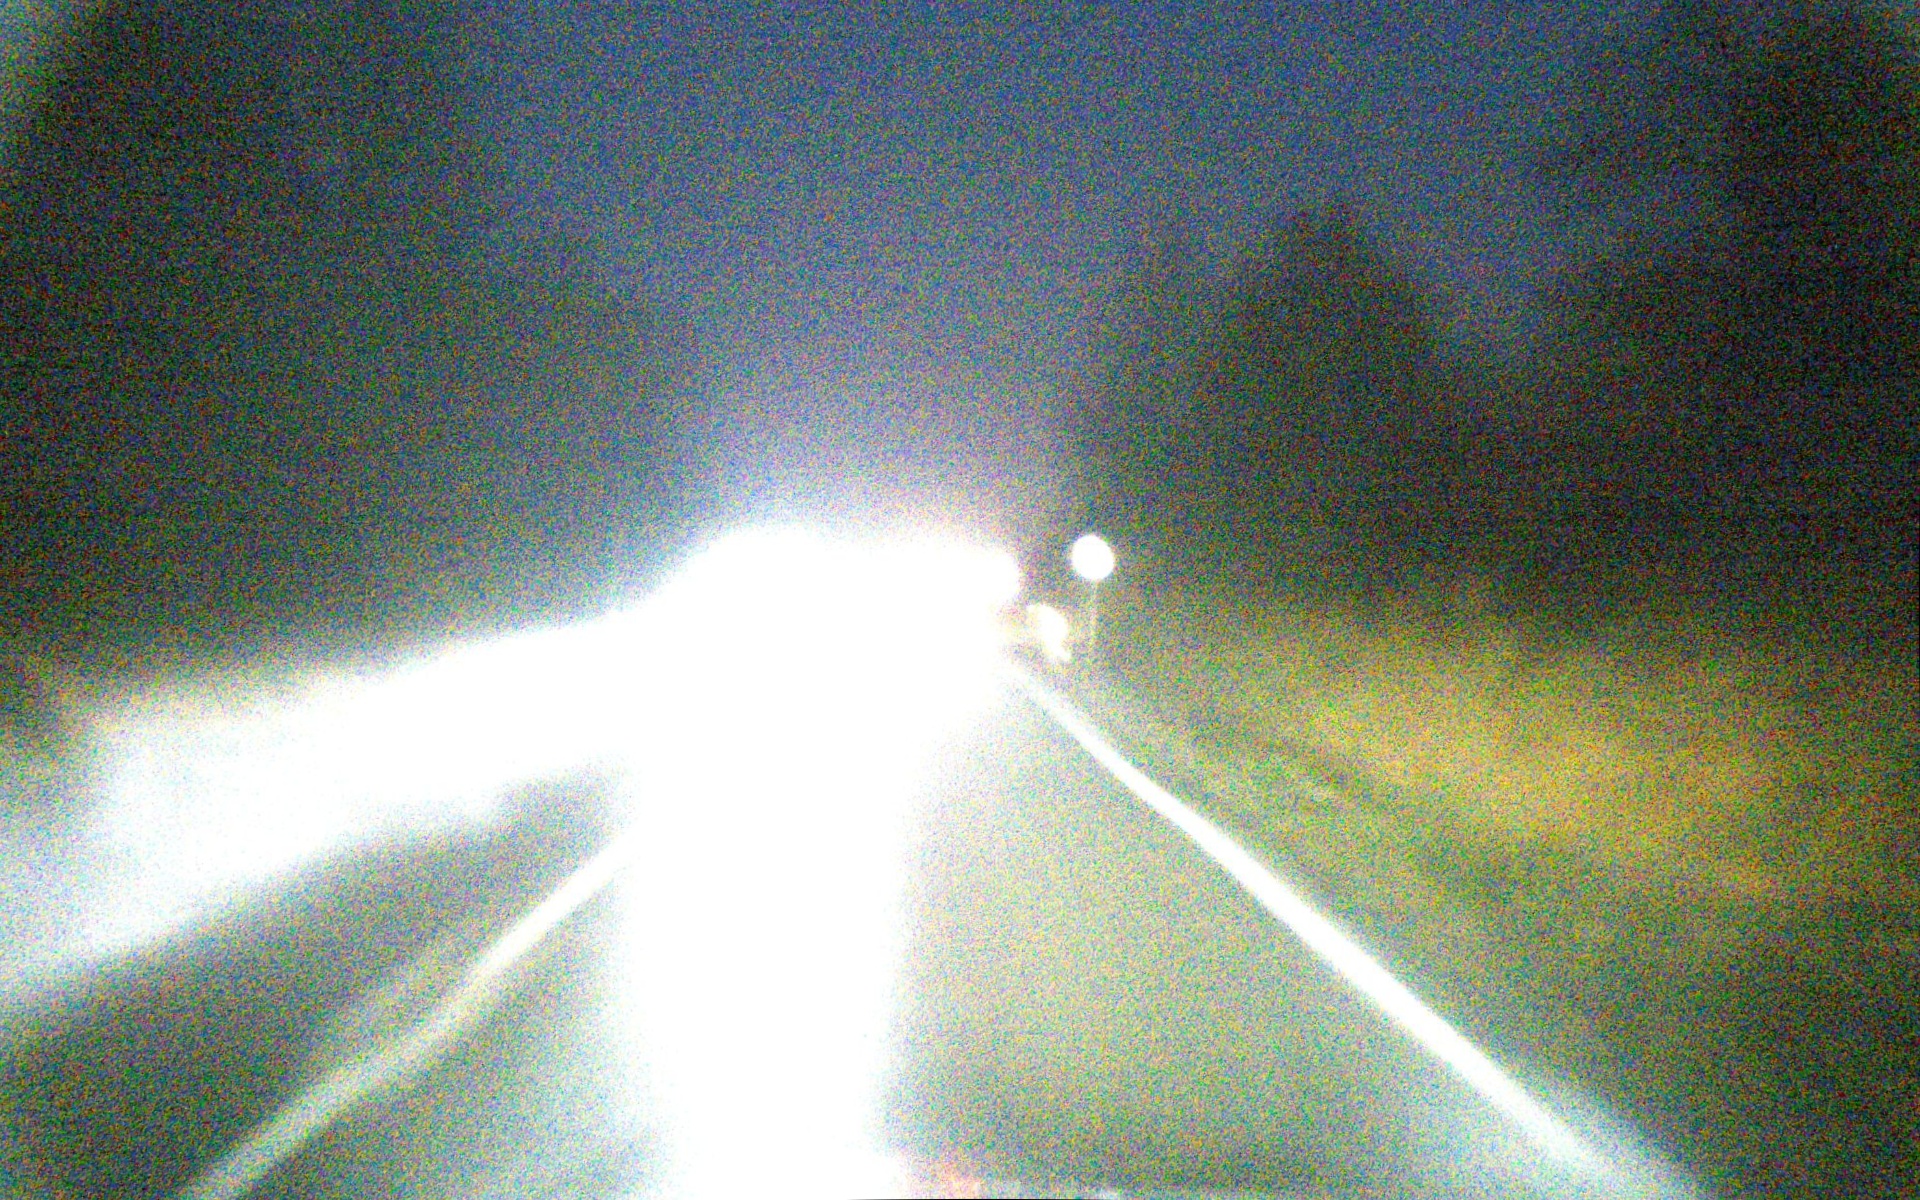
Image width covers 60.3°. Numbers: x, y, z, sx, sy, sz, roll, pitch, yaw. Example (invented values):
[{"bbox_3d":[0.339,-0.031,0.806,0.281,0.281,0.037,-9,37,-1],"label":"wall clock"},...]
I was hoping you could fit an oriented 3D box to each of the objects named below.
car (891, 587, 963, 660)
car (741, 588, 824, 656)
[{"bbox_3d":[-0.900,0.600,44.635,1.805,1.770,3.999,2,1,-2],"label":"car"},{"bbox_3d":[-4.800,0.585,45.225,1.907,1.758,3.999,1,0,-1],"label":"car"}]
